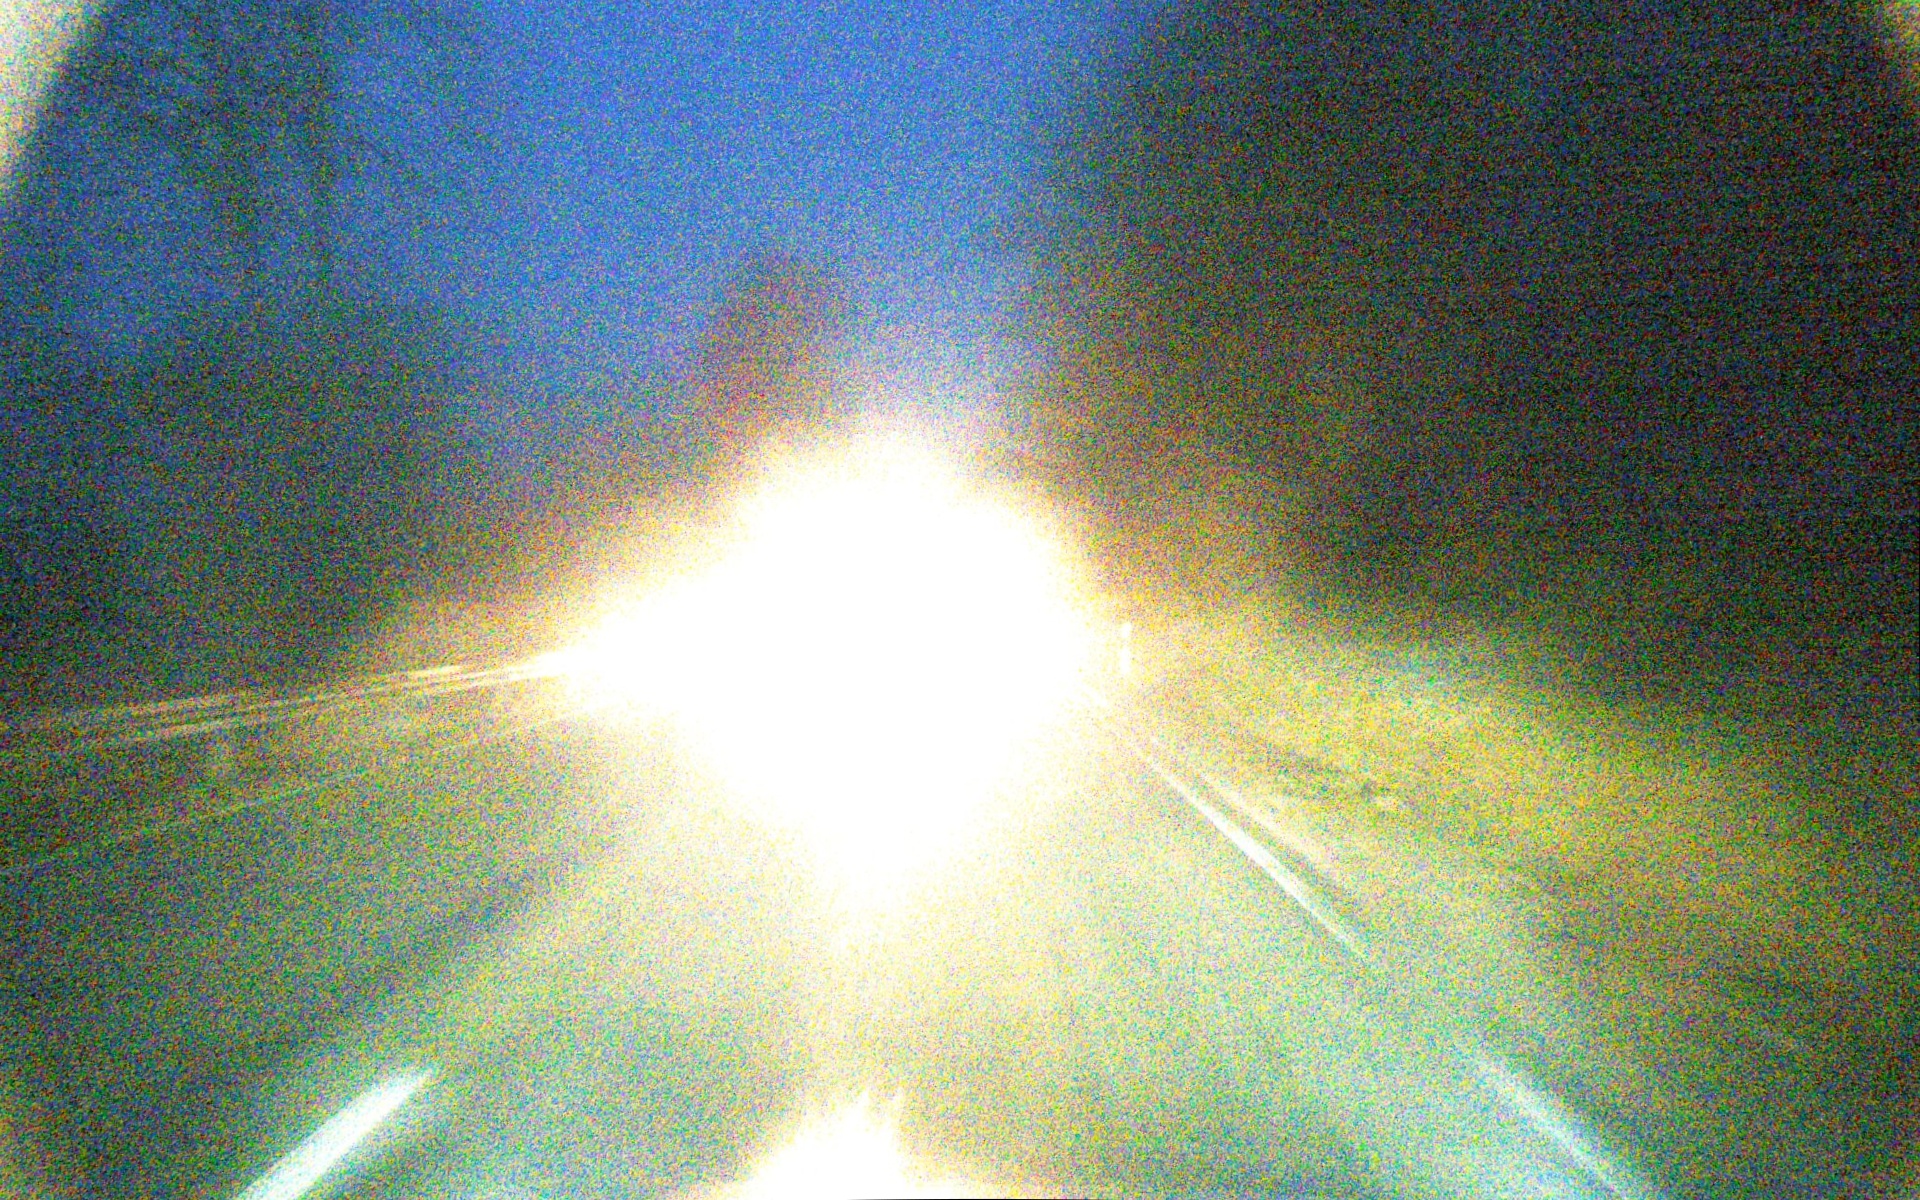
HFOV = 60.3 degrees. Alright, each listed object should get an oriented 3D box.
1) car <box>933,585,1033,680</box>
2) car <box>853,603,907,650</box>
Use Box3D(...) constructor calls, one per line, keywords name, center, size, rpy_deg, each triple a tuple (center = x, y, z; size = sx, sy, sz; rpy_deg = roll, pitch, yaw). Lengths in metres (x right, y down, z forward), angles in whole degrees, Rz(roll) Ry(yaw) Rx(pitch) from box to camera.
Box3D(name="car", center=(0.452, 0.663, 36.882), size=(1.954, 1.838, 3.916), rpy_deg=(-2, 2, -2))
Box3D(name="car", center=(-3.236, 1.046, 67.668), size=(1.763, 1.607, 4.458), rpy_deg=(-6, 1, 1))
